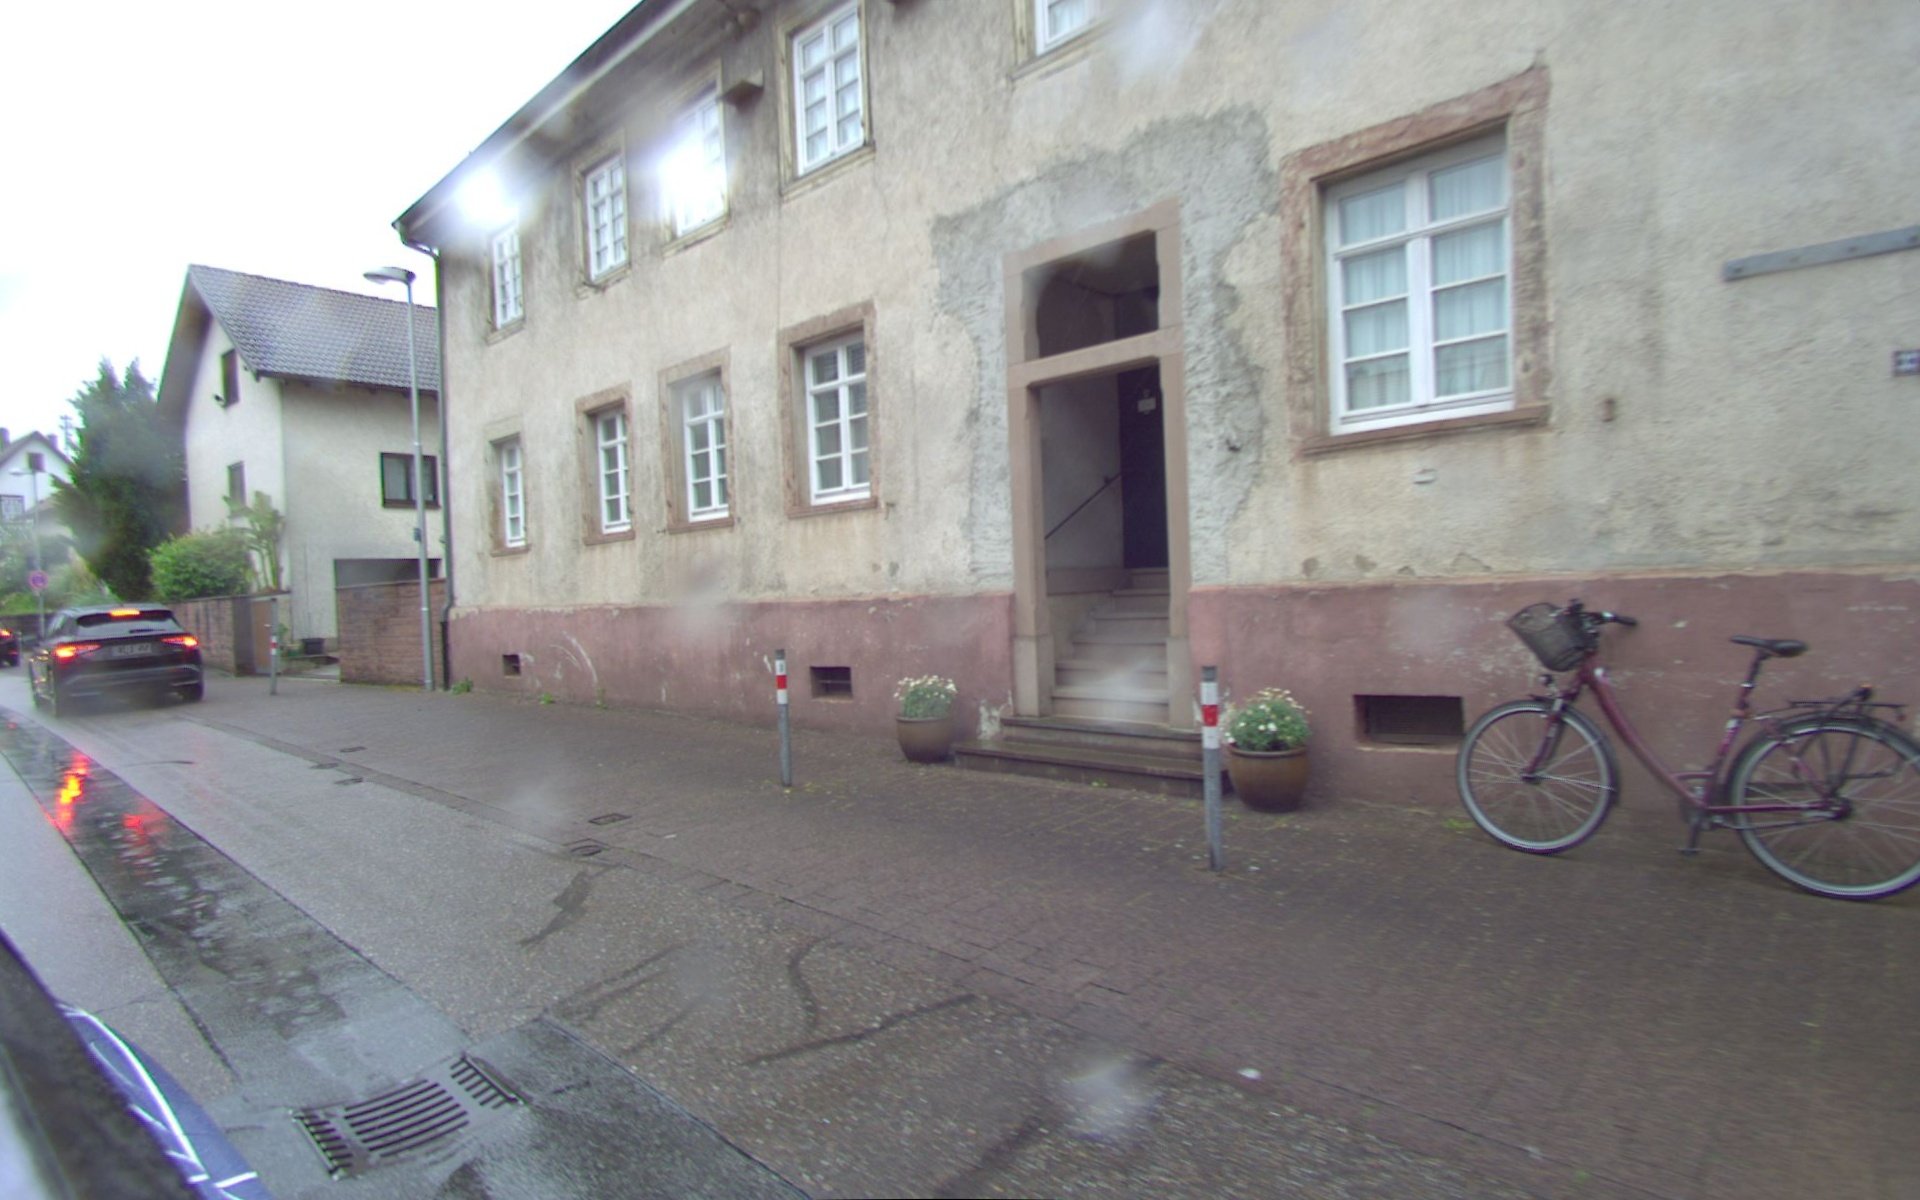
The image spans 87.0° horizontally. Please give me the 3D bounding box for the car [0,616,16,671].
[{"bbox_3d":[-28.848,1.288,29.489,3.687,1.524,1.587,-1,1,42],"label":"car"}]

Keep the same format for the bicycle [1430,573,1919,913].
[{"bbox_3d":[3.048,0.526,4.221,1.874,1.187,0.476,-2,2,42],"label":"bicycle"}]

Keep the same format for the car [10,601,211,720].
[{"bbox_3d":[-13.787,0.884,16.342,4.238,1.567,1.814,-1,3,42],"label":"car"}]
